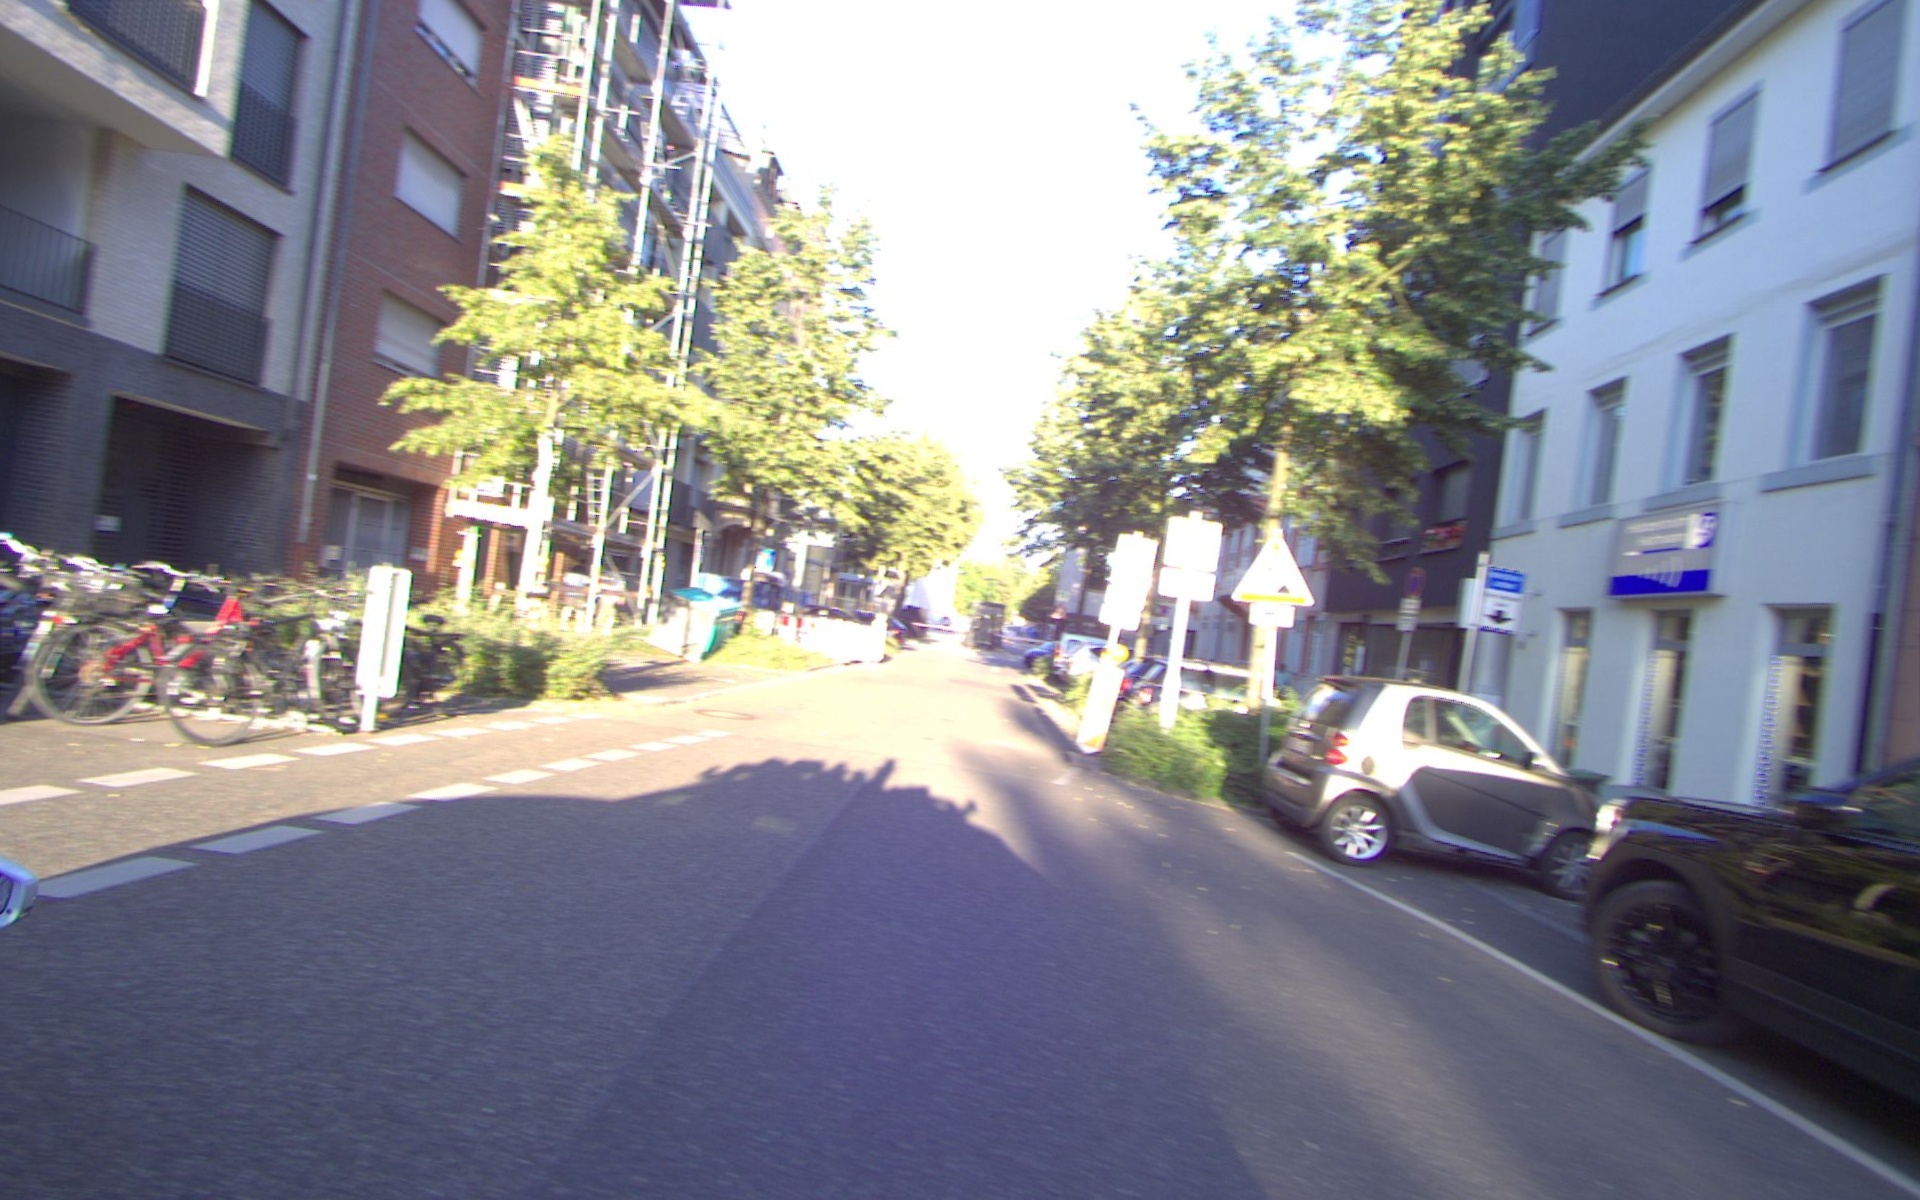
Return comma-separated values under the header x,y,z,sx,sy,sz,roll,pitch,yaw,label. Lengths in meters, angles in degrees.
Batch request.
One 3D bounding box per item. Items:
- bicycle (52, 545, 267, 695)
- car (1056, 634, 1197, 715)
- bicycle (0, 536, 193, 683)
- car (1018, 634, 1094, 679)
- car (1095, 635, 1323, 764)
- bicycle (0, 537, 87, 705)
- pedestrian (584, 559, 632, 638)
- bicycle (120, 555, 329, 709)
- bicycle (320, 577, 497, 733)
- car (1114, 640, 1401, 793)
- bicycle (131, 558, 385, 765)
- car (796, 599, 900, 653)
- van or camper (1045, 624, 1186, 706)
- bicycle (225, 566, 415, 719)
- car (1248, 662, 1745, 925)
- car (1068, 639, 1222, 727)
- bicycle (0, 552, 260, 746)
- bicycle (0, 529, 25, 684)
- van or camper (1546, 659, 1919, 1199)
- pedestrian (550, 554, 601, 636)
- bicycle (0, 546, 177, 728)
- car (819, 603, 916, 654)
x,y,z,sx,sy,sz,roll,pitch,yaw,label
-7.003,0.185,8.902,0.460,1.157,1.553,8,-1,3,bicycle
4.853,2.165,29.729,3.630,1.689,1.859,10,-1,0,car
-7.689,0.093,8.876,0.450,1.145,1.553,8,-1,3,bicycle
4.556,2.700,47.424,1.829,1.586,3.690,9,-1,35,car
4.596,1.820,18.985,3.630,1.689,1.859,10,-1,0,car
-7.129,0.137,7.099,0.380,1.203,1.553,8,-1,3,bicycle
-8.574,-0.023,24.525,0.730,1.805,0.656,7,0,1,pedestrian
-6.327,0.280,8.762,0.479,1.163,1.553,8,-1,3,bicycle
-4.783,0.467,8.851,0.499,1.192,1.553,8,-1,3,bicycle
4.734,1.838,16.449,3.936,1.689,1.859,10,-1,0,car
-4.844,0.408,7.077,0.489,1.235,1.553,8,-1,3,bicycle
-4.756,1.123,42.994,3.925,1.704,1.892,8,-1,5,car
5.323,2.220,34.892,4.374,2.029,1.859,10,-1,0,van or camper
-5.572,0.367,8.870,0.479,1.177,1.553,8,-1,3,bicycle
4.558,1.614,8.899,3.418,1.594,1.508,8,0,0,car
4.956,2.204,27.276,3.630,1.689,1.859,10,-1,0,car
-5.834,0.340,7.100,0.410,1.170,1.553,8,-1,8,bicycle
-7.652,0.016,7.216,0.381,1.197,1.406,8,-1,3,bicycle
4.376,1.338,3.337,1.862,1.828,4.460,9,-1,-3,van or camper
-9.028,-0.105,23.642,0.730,1.805,0.657,7,0,3,pedestrian
-6.386,0.248,7.057,0.375,1.173,1.553,8,-1,3,bicycle
-4.142,1.301,45.649,3.925,1.704,1.892,8,-1,5,car
